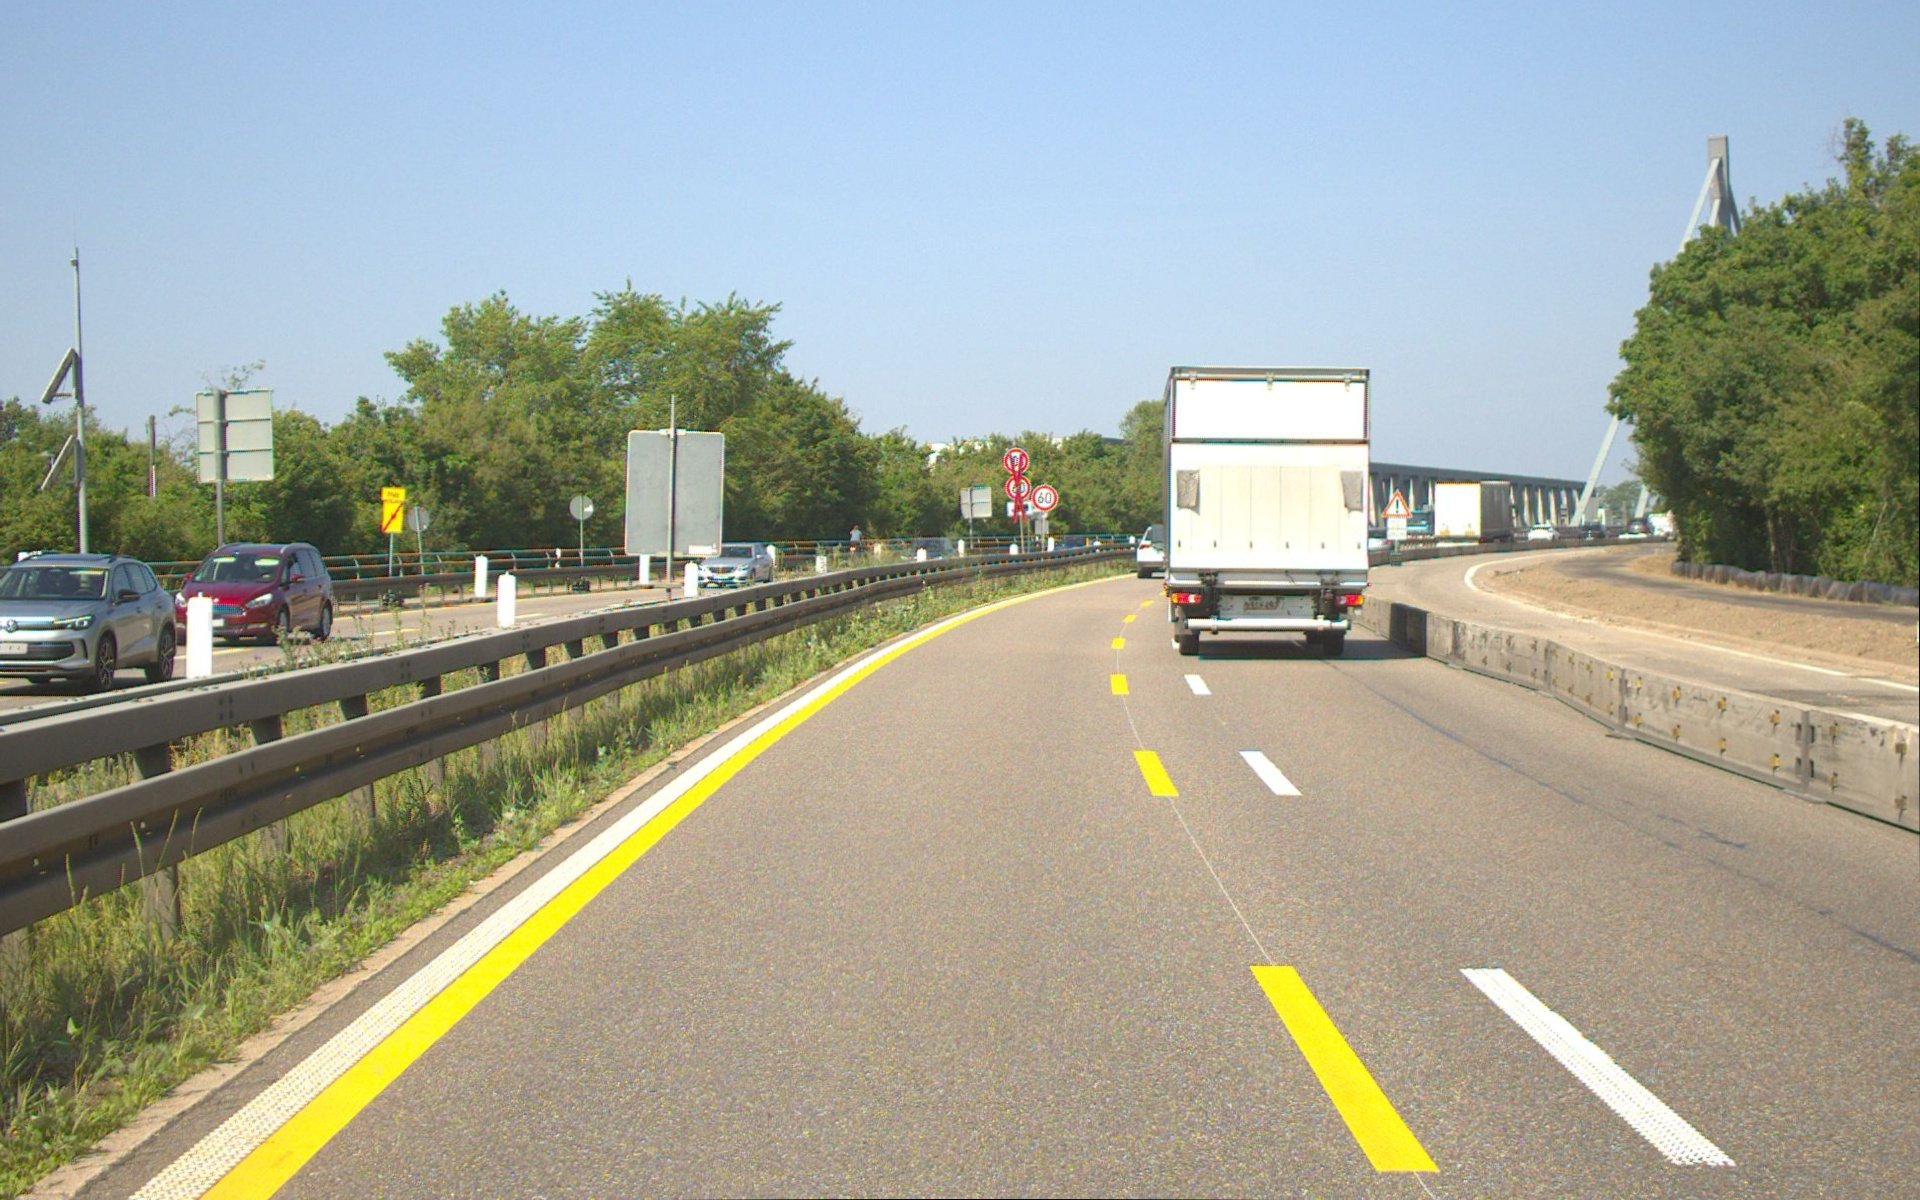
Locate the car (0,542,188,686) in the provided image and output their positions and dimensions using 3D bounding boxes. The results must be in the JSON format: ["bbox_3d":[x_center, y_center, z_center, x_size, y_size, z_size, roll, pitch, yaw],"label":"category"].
[{"bbox_3d":[-11.207,0.126,42.940,1.909,1.645,4.376,1,2,3],"label":"car"}]

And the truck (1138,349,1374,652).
[{"bbox_3d":[3.693,-1.222,42.741,2.635,3.415,7.232,1,1,5],"label":"truck"}]

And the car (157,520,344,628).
[{"bbox_3d":[-12.285,-0.487,59.847,1.909,1.728,5.020,-2,1,3],"label":"car"}]

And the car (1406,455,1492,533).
[{"bbox_3d":[28.242,-6.135,198.087,4.209,4.237,10.657,-2,2,11],"label":"car"}]

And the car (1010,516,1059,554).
[{"bbox_3d":[3.043,-2.651,139.960,1.738,1.493,4.000,-1,1,4],"label":"car"}]

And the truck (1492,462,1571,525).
[{"bbox_3d":[41.687,-7.787,250.402,4.223,4.252,10.233,-2,2,17],"label":"truck"}]

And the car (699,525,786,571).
[{"bbox_3d":[-7.191,-1.741,114.122,1.885,1.415,4.858,-1,1,8],"label":"car"}]

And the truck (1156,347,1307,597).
[{"bbox_3d":[5.134,-2.387,65.329,2.634,4.453,7.232,1,1,4],"label":"truck"}]

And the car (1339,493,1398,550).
[{"bbox_3d":[15.290,-2.961,128.886,1.994,2.006,4.000,-2,2,5],"label":"car"}]

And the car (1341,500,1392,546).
[{"bbox_3d":[18.738,-3.554,158.267,1.994,2.006,3.999,-2,2,11],"label":"car"}]
